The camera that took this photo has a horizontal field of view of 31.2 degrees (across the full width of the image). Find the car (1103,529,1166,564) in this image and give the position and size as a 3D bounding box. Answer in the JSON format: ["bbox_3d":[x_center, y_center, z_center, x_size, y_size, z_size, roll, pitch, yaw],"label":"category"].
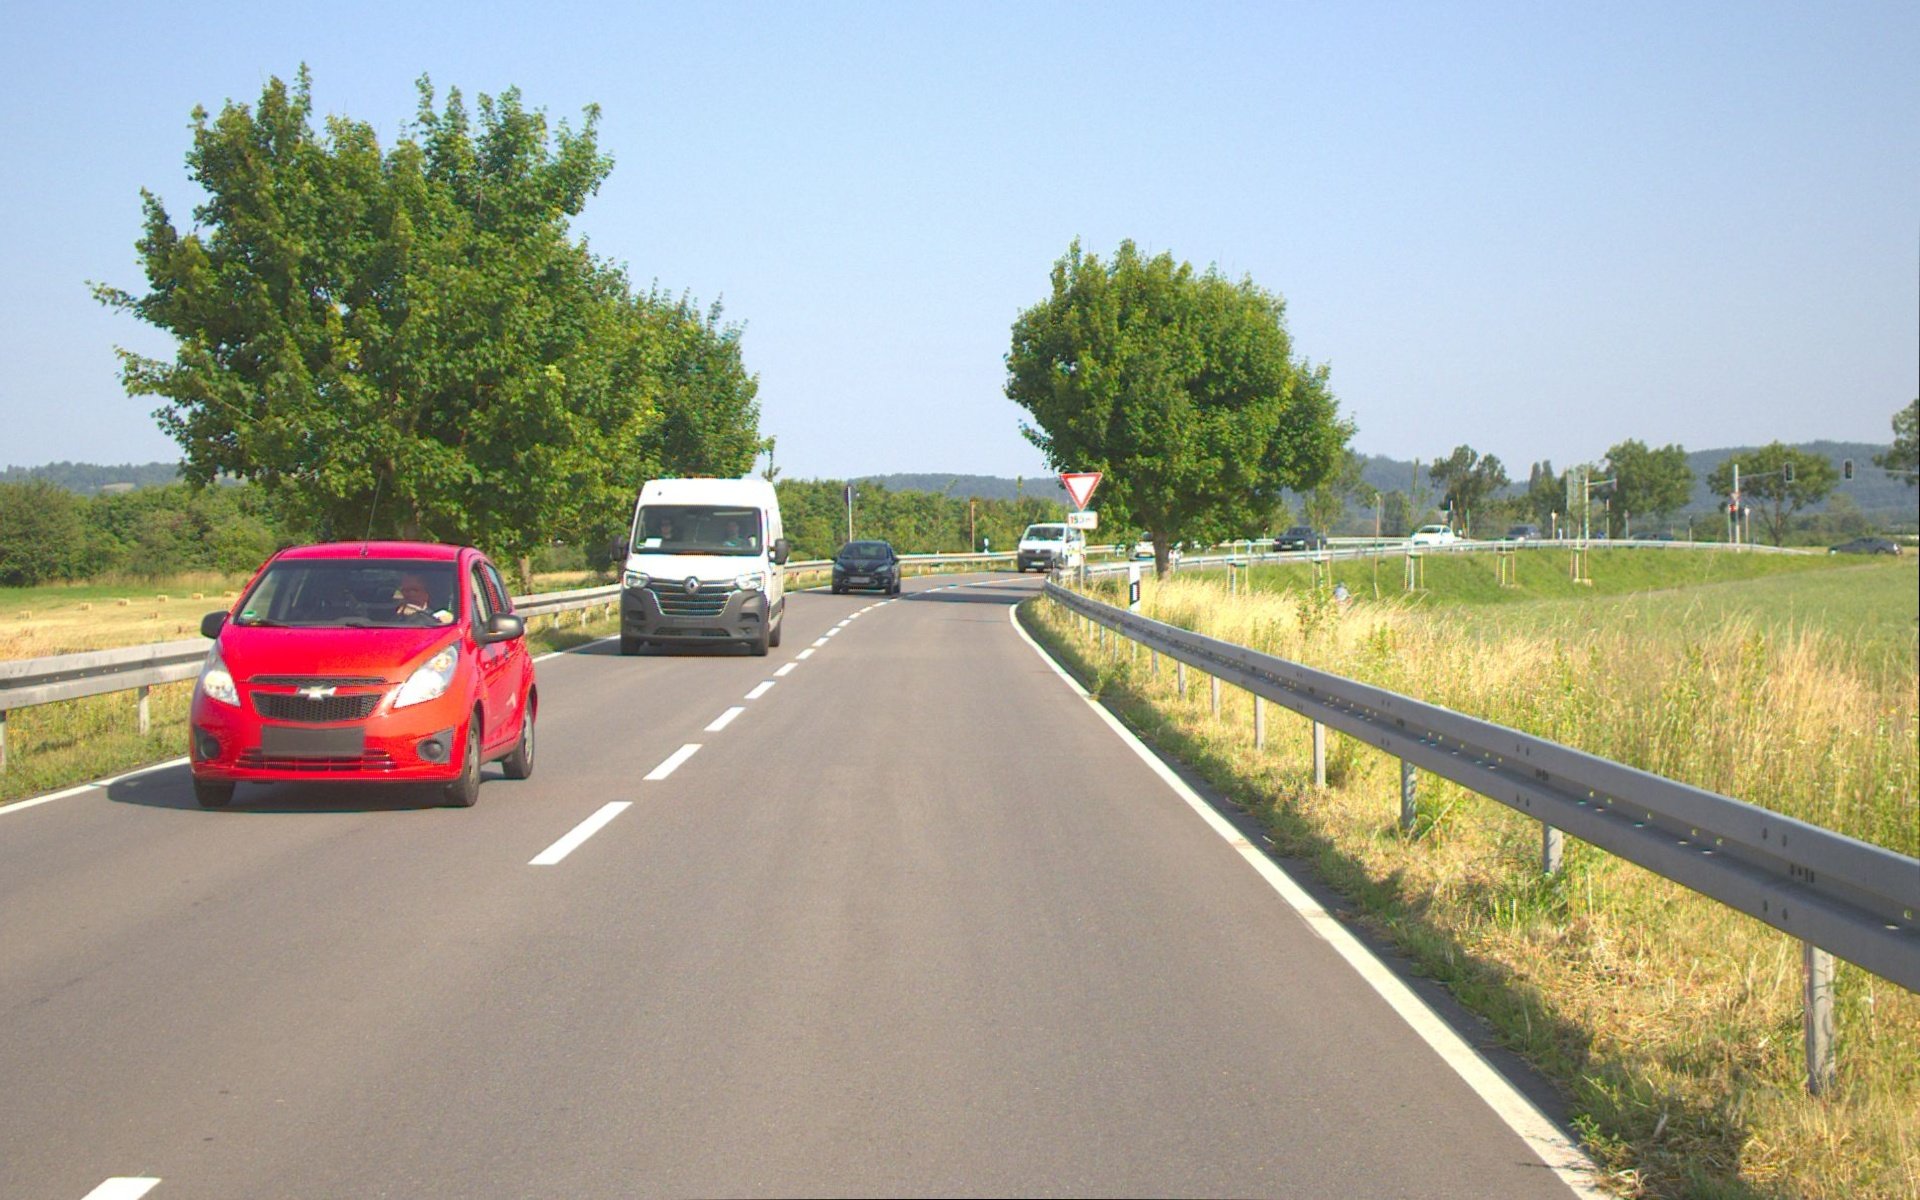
[{"bbox_3d":[7.804,-2.404,153.665,1.903,1.527,4.588,1,1,14],"label":"car"}]

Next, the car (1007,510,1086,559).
[{"bbox_3d":[3.426,-2.578,135.087,1.995,1.878,4.588,1,1,16],"label":"car"}]

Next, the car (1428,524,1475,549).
[{"bbox_3d":[30.456,-3.926,212.903,1.995,1.527,4.587,1,1,20],"label":"car"}]

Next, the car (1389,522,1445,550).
[{"bbox_3d":[25.974,-3.638,195.305,1.996,1.527,4.586,2,1,23],"label":"car"}]

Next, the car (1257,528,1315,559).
[{"bbox_3d":[16.651,-2.910,175.650,1.995,1.527,4.587,1,1,18],"label":"car"}]

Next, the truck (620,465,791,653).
[{"bbox_3d":[-3.547,-0.600,49.002,1.993,2.511,6.244,0,1,0],"label":"truck"}]

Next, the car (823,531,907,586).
[{"bbox_3d":[-2.617,-1.155,95.523,1.645,1.466,3.805,1,1,9],"label":"car"}]

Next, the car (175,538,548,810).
[{"bbox_3d":[-3.510,0.373,20.751,1.606,1.483,3.780,0,1,0],"label":"car"}]

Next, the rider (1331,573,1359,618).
[{"bbox_3d":[13.085,-0.149,116.826,0.609,1.522,1.824,1,0,17],"label":"rider"}]
